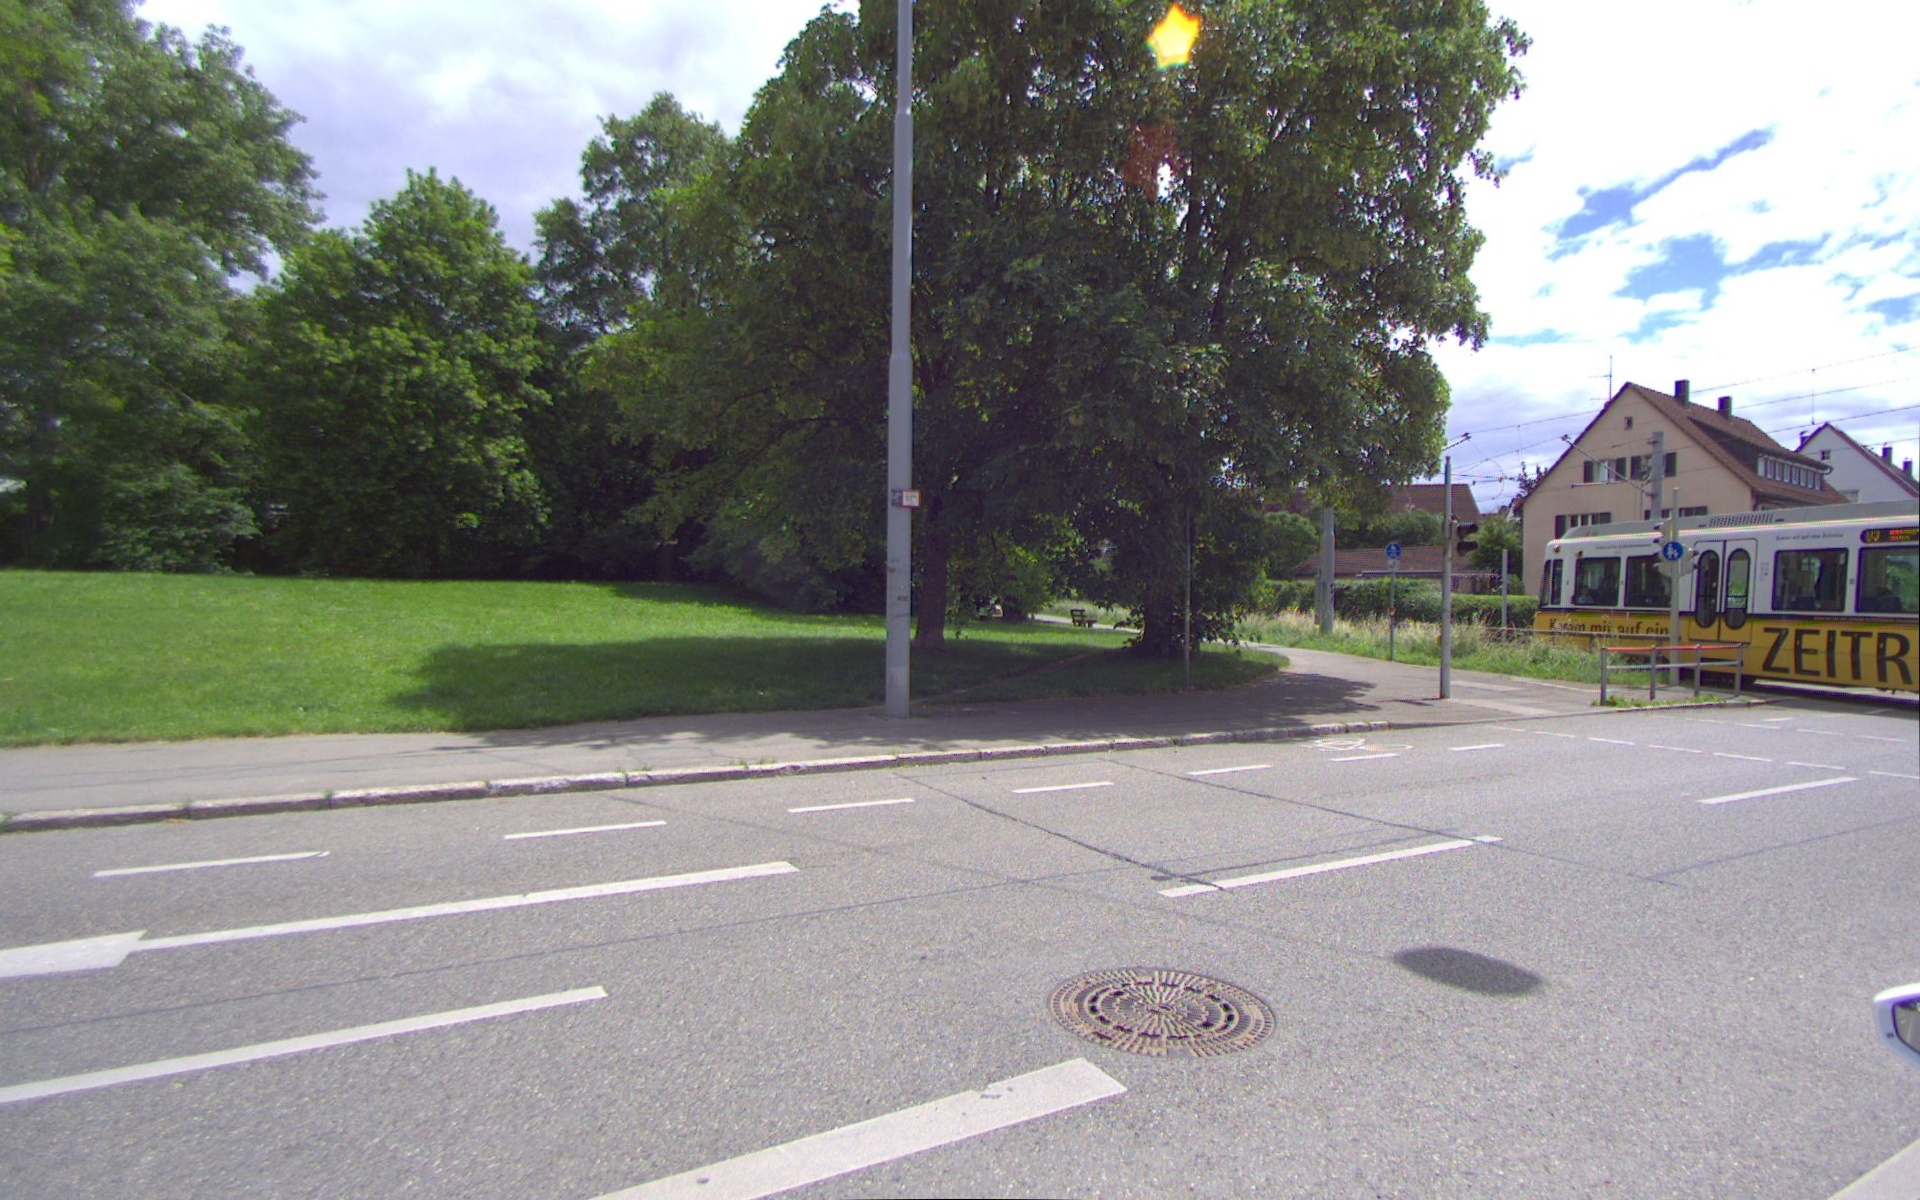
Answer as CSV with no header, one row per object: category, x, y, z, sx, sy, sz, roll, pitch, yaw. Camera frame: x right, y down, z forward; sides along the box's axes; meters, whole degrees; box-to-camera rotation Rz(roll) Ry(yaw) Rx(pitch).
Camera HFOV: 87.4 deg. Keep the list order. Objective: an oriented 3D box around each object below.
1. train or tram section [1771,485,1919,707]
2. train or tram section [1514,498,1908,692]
train or tram section,17.876,-0.006,16.115,2.816,3.772,7.707,2,1,-7
train or tram section,17.020,-0.154,23.739,2.816,3.772,7.707,2,1,-7
